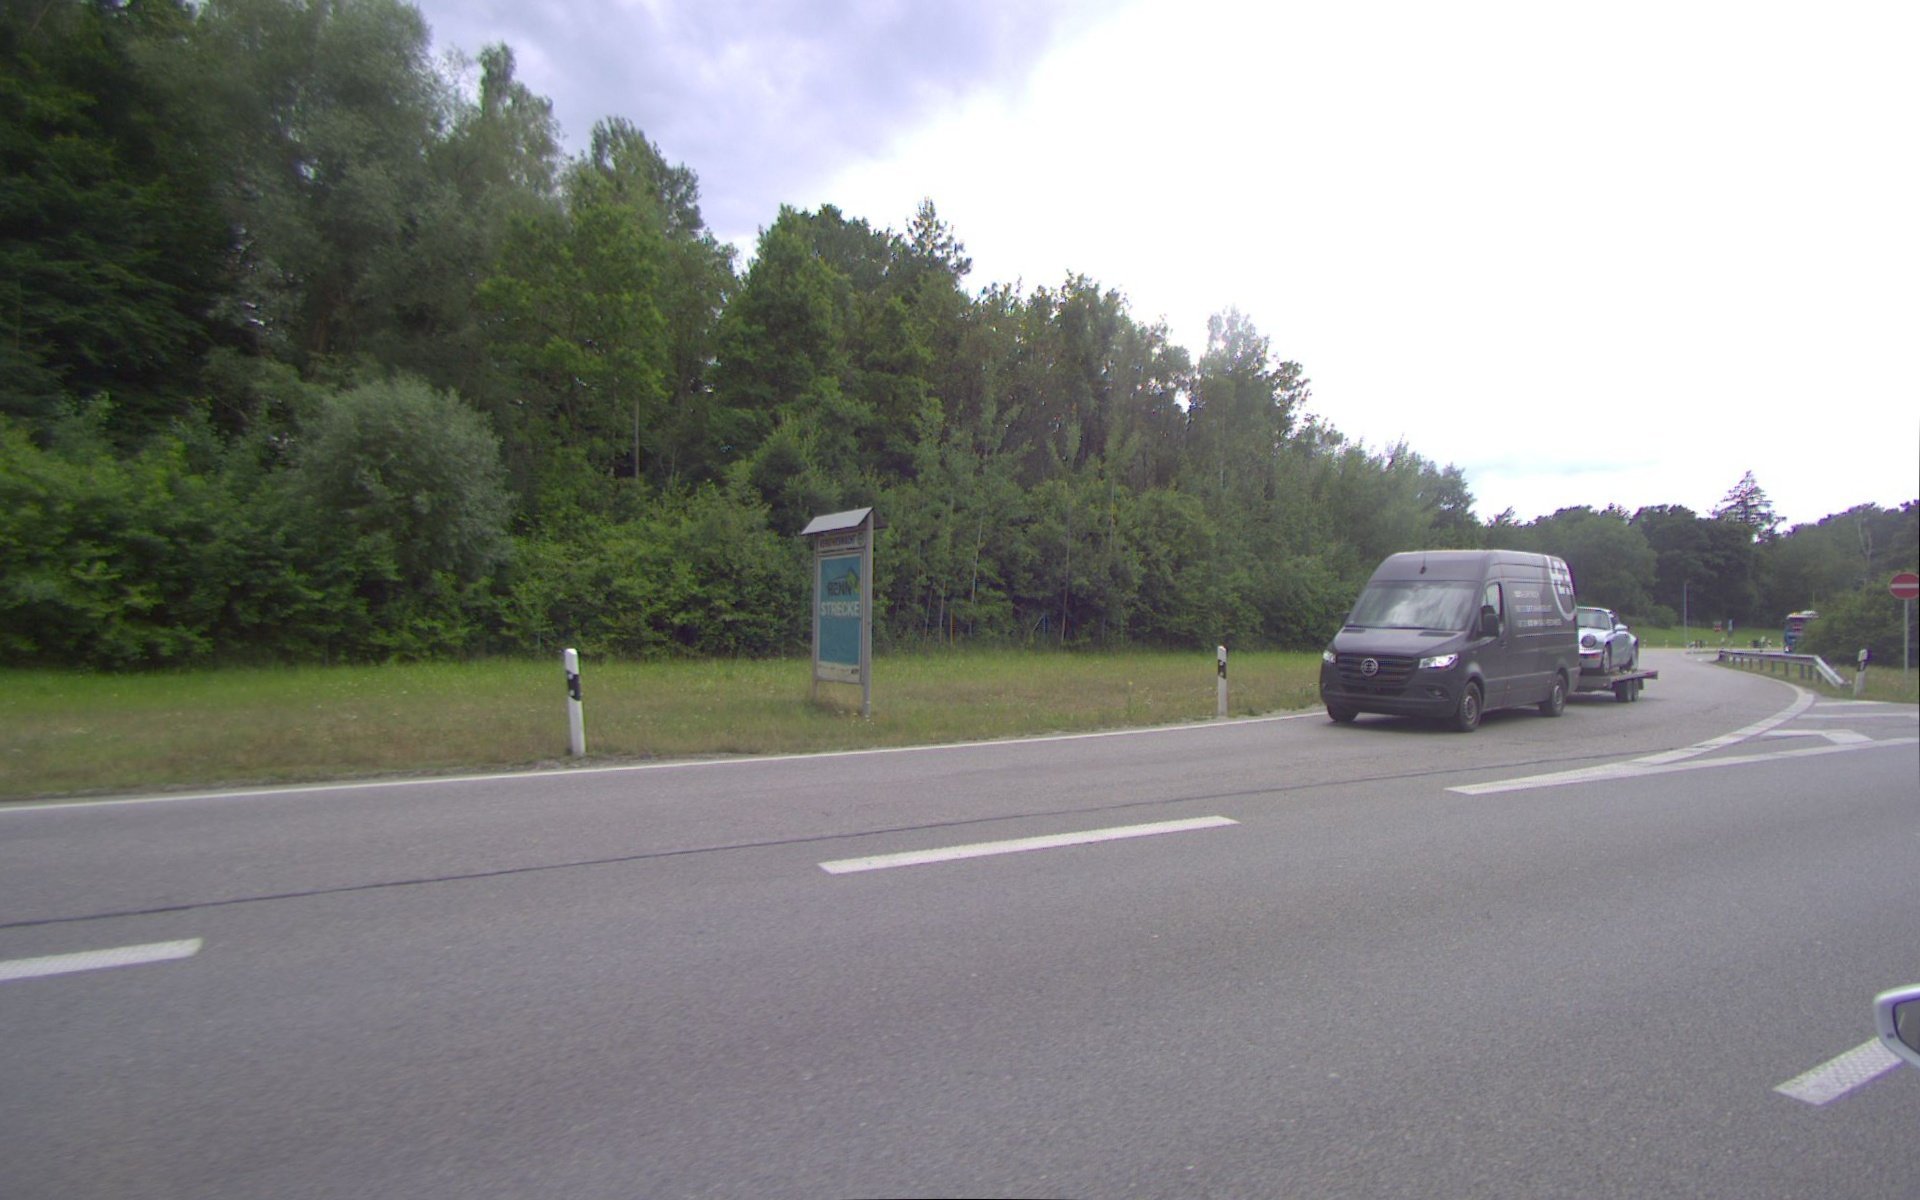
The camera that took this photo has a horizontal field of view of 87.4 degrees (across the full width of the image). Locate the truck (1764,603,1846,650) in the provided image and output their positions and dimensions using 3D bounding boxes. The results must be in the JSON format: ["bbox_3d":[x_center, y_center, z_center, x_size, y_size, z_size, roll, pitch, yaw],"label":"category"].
[{"bbox_3d":[57.679,1.860,68.548,7.143,3.052,1.984,2,0,-30],"label":"truck"}]

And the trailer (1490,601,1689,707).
[{"bbox_3d":[12.869,1.020,20.343,5.650,1.815,2.035,2,0,-43],"label":"trailer"}]

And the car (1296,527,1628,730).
[{"bbox_3d":[8.197,0.486,15.918,7.110,2.563,2.236,2,-3,-42],"label":"car"}]
